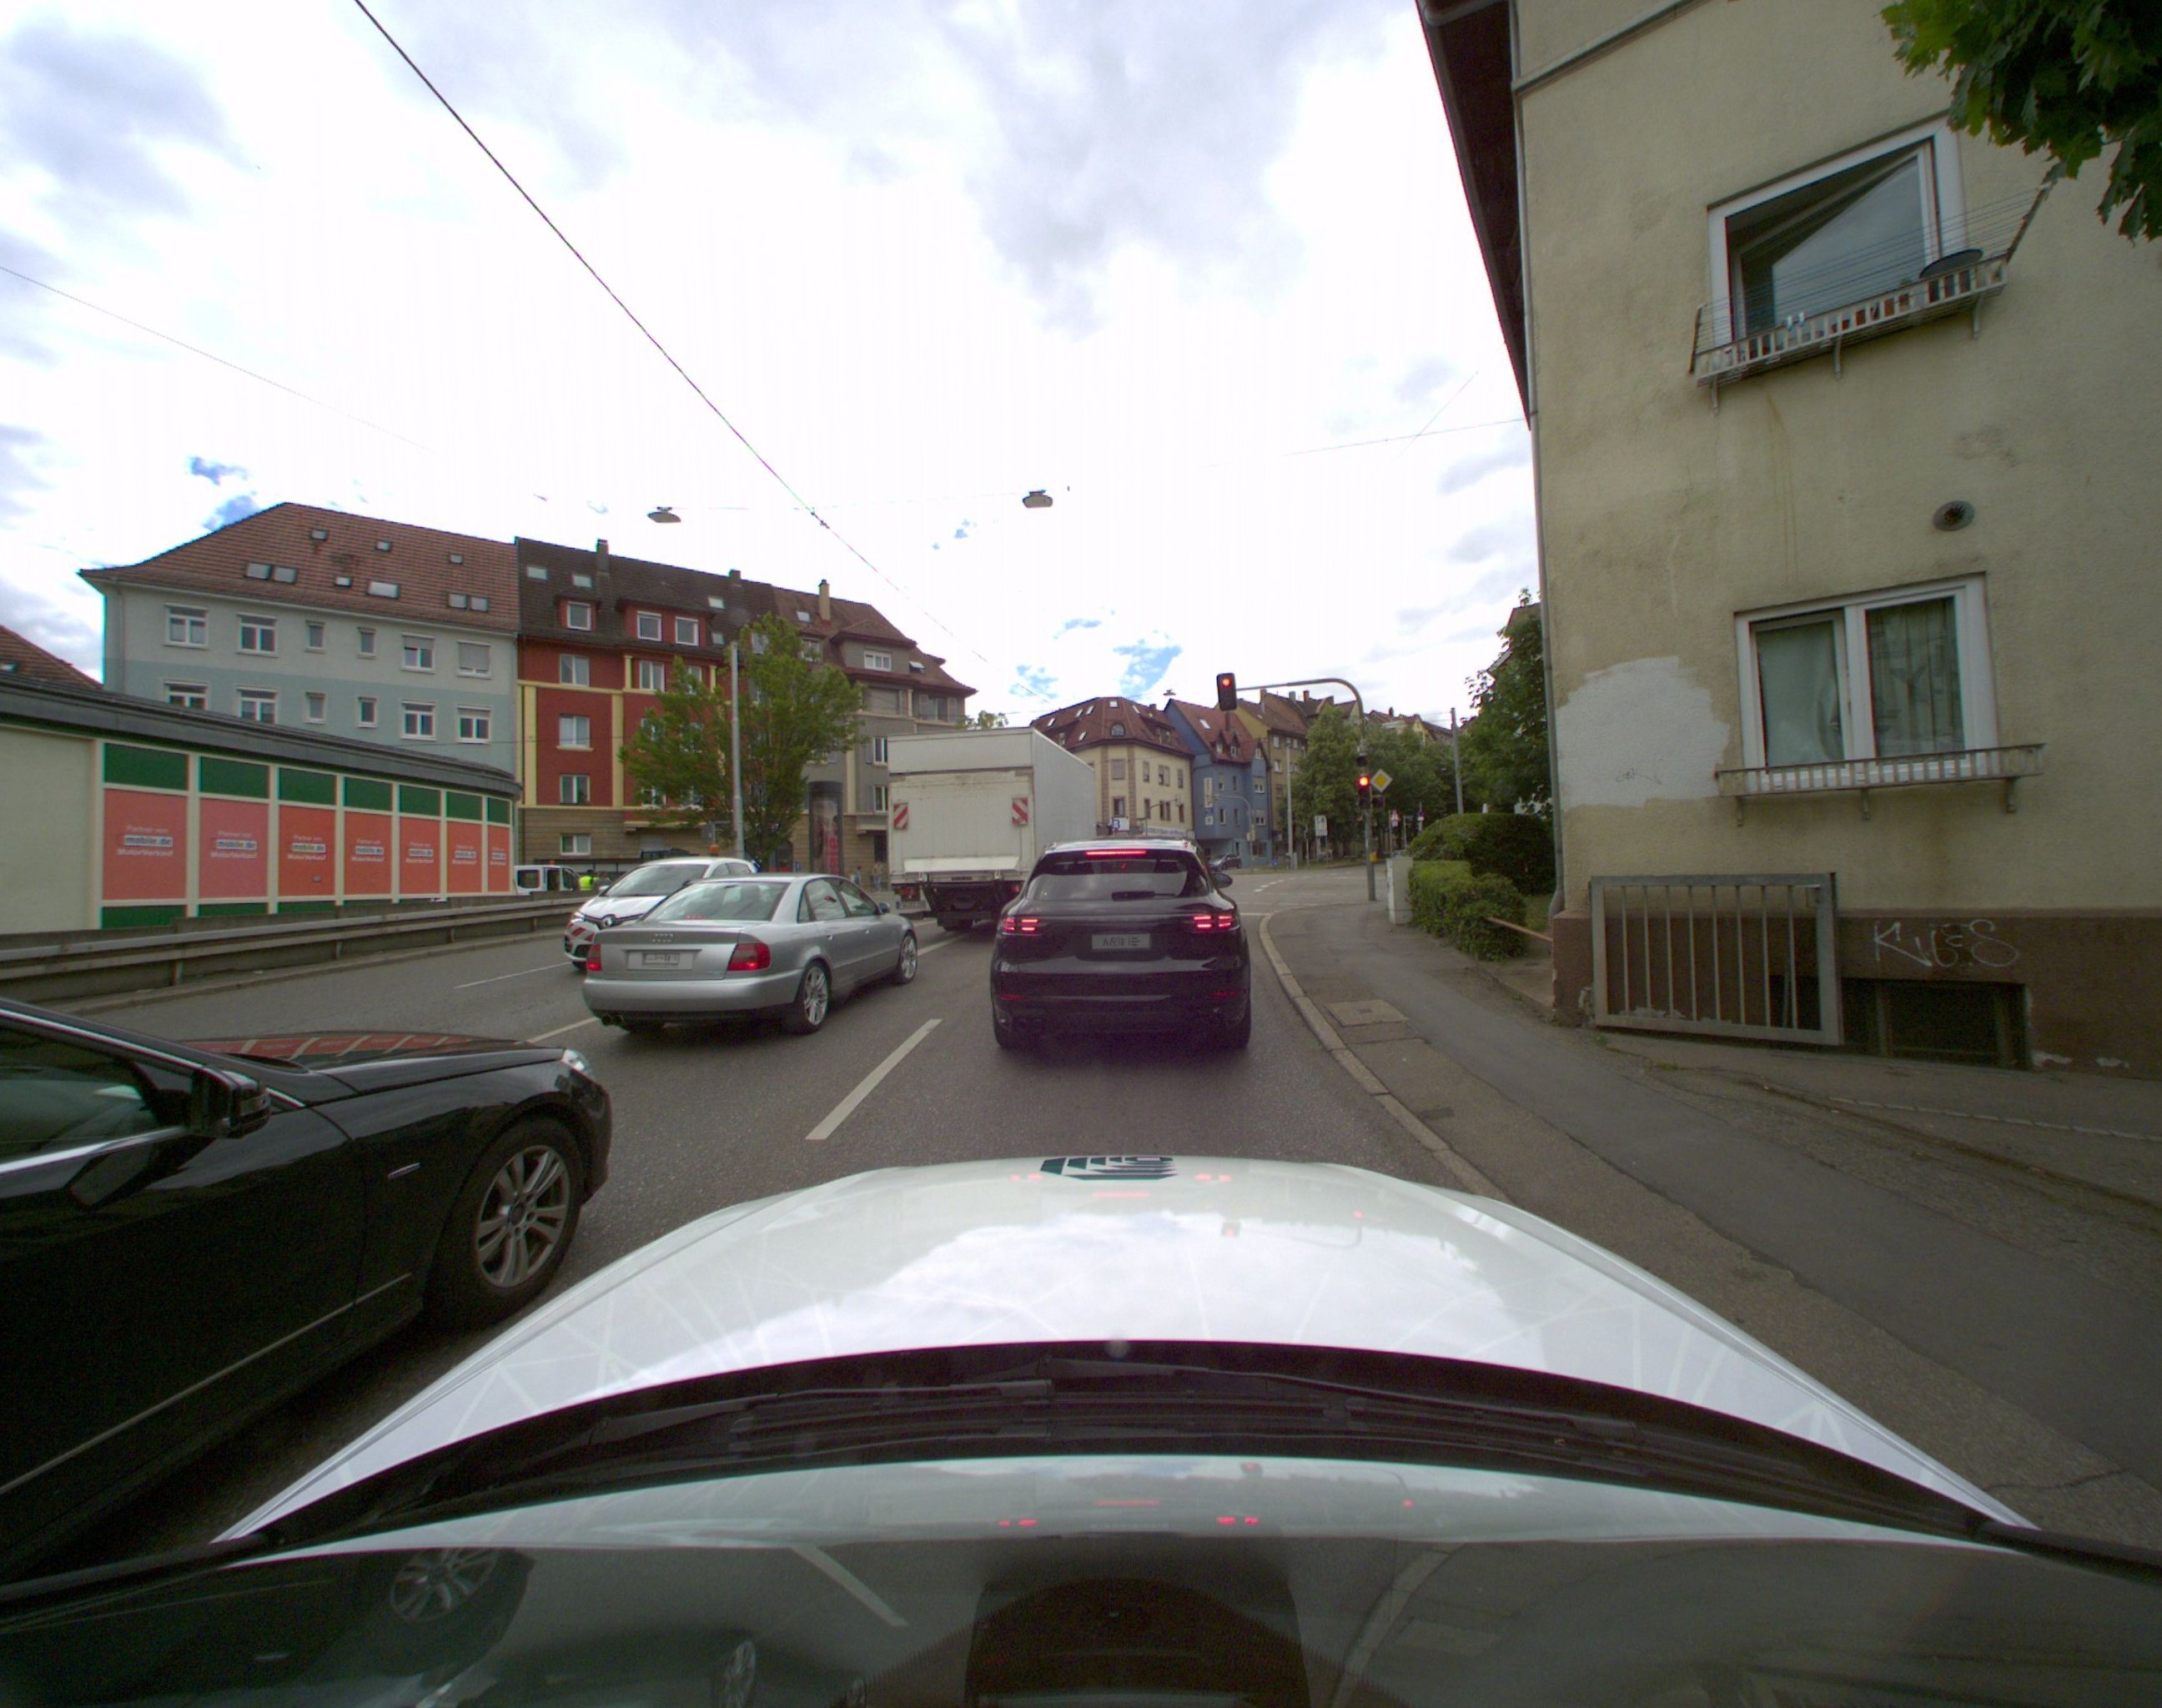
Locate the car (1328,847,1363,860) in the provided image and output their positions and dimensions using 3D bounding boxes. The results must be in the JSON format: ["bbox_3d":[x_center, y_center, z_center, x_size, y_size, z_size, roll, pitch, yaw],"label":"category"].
[{"bbox_3d":[29.282,-0.052,90.061,1.852,1.416,4.727,-1,-1,43],"label":"car"}]

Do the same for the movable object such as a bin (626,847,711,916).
[{"bbox_3d":[-13.145,0.841,26.145,1.375,2.013,3.524,-2,0,-10],"label":"movable object such as a bin"}]

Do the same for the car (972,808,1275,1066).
[{"bbox_3d":[0.356,0.572,7.733,2.024,1.723,4.501,0,0,2],"label":"car"}]

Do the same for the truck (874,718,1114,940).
[{"bbox_3d":[-1.288,-0.397,17.507,2.708,3.544,8.446,-2,0,10],"label":"truck"}]

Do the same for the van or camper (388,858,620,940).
[{"bbox_3d":[-18.986,1.386,27.254,6.028,2.338,2.661,-1,0,-33],"label":"van or camper"}]

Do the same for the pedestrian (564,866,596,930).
[{"bbox_3d":[-16.451,1.426,26.738,0.830,2.013,0.673,-1,0,-36],"label":"pedestrian"}]

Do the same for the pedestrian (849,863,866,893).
[{"bbox_3d":[-10.237,1.086,37.269,0.586,1.338,0.570,-2,0,-33],"label":"pedestrian"}]

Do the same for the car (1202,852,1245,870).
[{"bbox_3d":[12.494,0.599,71.053,1.700,1.477,4.244,-2,-3,42],"label":"car"}]

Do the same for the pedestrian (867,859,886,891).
[{"bbox_3d":[-9.592,0.987,38.131,0.657,1.487,0.517,-2,0,-40],"label":"pedestrian"}]

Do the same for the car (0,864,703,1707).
[{"bbox_3d":[-2.868,0.800,1.409,1.986,1.429,4.844,-2,0,2],"label":"car"}]

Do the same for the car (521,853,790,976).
[{"bbox_3d":[-6.301,0.798,12.683,1.763,1.521,4.088,-3,0,4],"label":"car"}]

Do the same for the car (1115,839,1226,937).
[{"bbox_3d":[1.749,0.557,14.877,1.638,1.556,3.595,-1,-1,12],"label":"car"}]

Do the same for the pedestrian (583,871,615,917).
[{"bbox_3d":[-14.771,1.232,24.951,0.594,1.363,0.630,-2,0,35],"label":"pedestrian"}]

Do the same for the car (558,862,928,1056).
[{"bbox_3d":[-2.960,0.825,8.224,1.620,1.365,4.135,-2,0,6],"label":"car"}]
